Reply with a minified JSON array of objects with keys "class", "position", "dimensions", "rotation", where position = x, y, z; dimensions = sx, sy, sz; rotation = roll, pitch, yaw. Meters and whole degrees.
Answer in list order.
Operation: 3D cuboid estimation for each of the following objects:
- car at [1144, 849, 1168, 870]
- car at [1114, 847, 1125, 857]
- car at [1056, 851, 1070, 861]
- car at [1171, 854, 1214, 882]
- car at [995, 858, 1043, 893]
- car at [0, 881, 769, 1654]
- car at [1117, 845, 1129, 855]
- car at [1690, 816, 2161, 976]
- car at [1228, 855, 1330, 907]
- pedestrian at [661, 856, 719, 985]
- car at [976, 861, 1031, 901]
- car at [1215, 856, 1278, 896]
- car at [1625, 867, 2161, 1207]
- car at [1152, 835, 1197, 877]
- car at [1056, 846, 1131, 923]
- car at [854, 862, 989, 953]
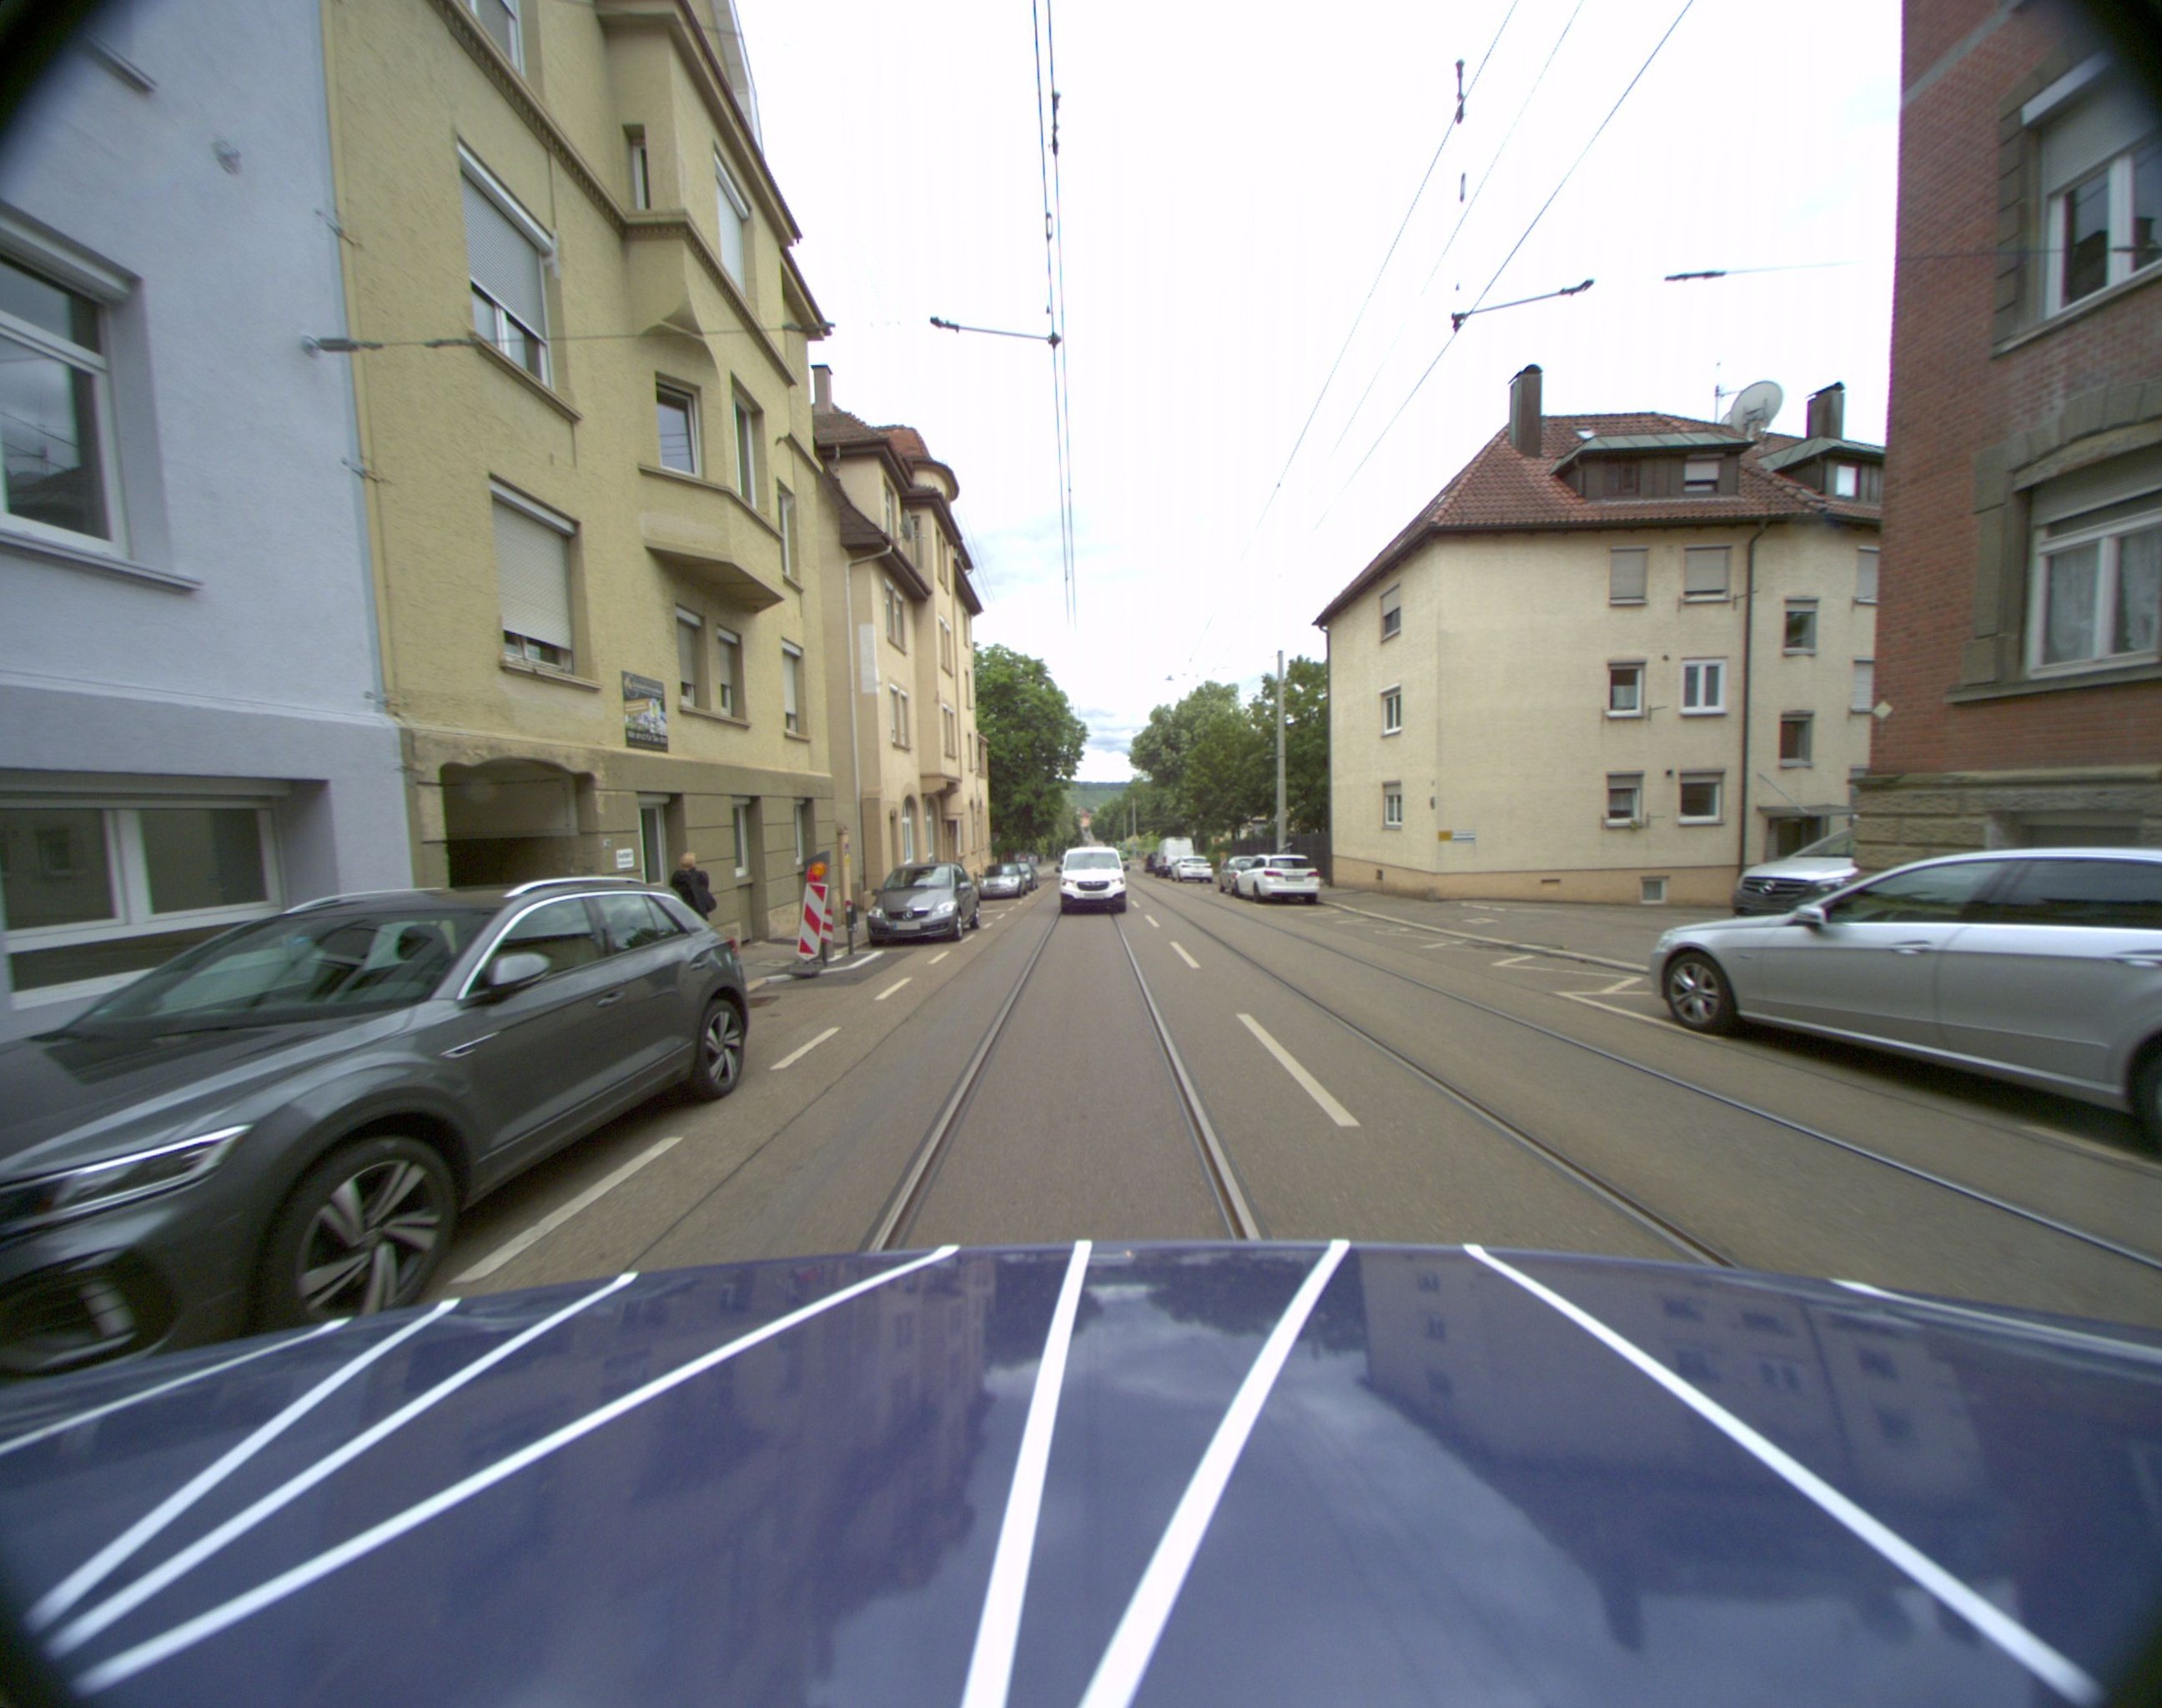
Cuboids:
[{"class":"car","position":[6.475,0.440,66.095],"dimensions":[1.766,1.765,4.668],"rotation":[2,1,2]},{"class":"car","position":[7.329,-0.434,146.388],"dimensions":[1.901,1.935,4.290],"rotation":[0,1,1]},{"class":"car","position":[-2.772,0.306,119.940],"dimensions":[1.863,1.434,4.388],"rotation":[-5,0,1]},{"class":"car","position":[6.035,0.711,41.505],"dimensions":[1.723,1.394,4.313],"rotation":[1,0,1]},{"class":"car","position":[-2.984,1.013,37.327],"dimensions":[1.844,1.395,4.167],"rotation":[-4,1,1]},{"class":"car","position":[-3.331,1.063,3.662],"dimensions":[1.784,1.522,4.191],"rotation":[-5,1,0]},{"class":"car","position":[6.964,-0.689,126.725],"dimensions":[1.856,1.532,3.948],"rotation":[-2,0,1]},{"class":"car","position":[12.237,0.560,10.964],"dimensions":[5.186,1.808,1.941],"rotation":[4,1,1]},{"class":"car","position":[6.022,0.762,23.658],"dimensions":[1.832,1.420,4.627],"rotation":[2,0,-1]},{"class":"pedestrian","position":[-5.302,0.885,10.320],"dimensions":[0.542,1.673,0.516],"rotation":[2,3,-8]},{"class":"car","position":[-3.132,1.059,31.335],"dimensions":[1.699,1.396,3.667],"rotation":[-4,0,1]},{"class":"car","position":[6.112,0.780,28.436],"dimensions":[1.604,1.360,3.807],"rotation":[2,0,2]},{"class":"car","position":[5.645,0.828,4.236],"dimensions":[1.832,1.420,4.839],"rotation":[0,0,1]},{"class":"car","position":[6.253,0.110,51.405],"dimensions":[2.164,2.591,6.218],"rotation":[1,0,-1]},{"class":"car","position":[0.378,0.721,20.620],"dimensions":[1.759,1.824,4.448],"rotation":[-2,1,2]},{"class":"car","position":[-3.210,1.016,16.116],"dimensions":[1.832,1.510,4.028],"rotation":[-4,0,1]}]
